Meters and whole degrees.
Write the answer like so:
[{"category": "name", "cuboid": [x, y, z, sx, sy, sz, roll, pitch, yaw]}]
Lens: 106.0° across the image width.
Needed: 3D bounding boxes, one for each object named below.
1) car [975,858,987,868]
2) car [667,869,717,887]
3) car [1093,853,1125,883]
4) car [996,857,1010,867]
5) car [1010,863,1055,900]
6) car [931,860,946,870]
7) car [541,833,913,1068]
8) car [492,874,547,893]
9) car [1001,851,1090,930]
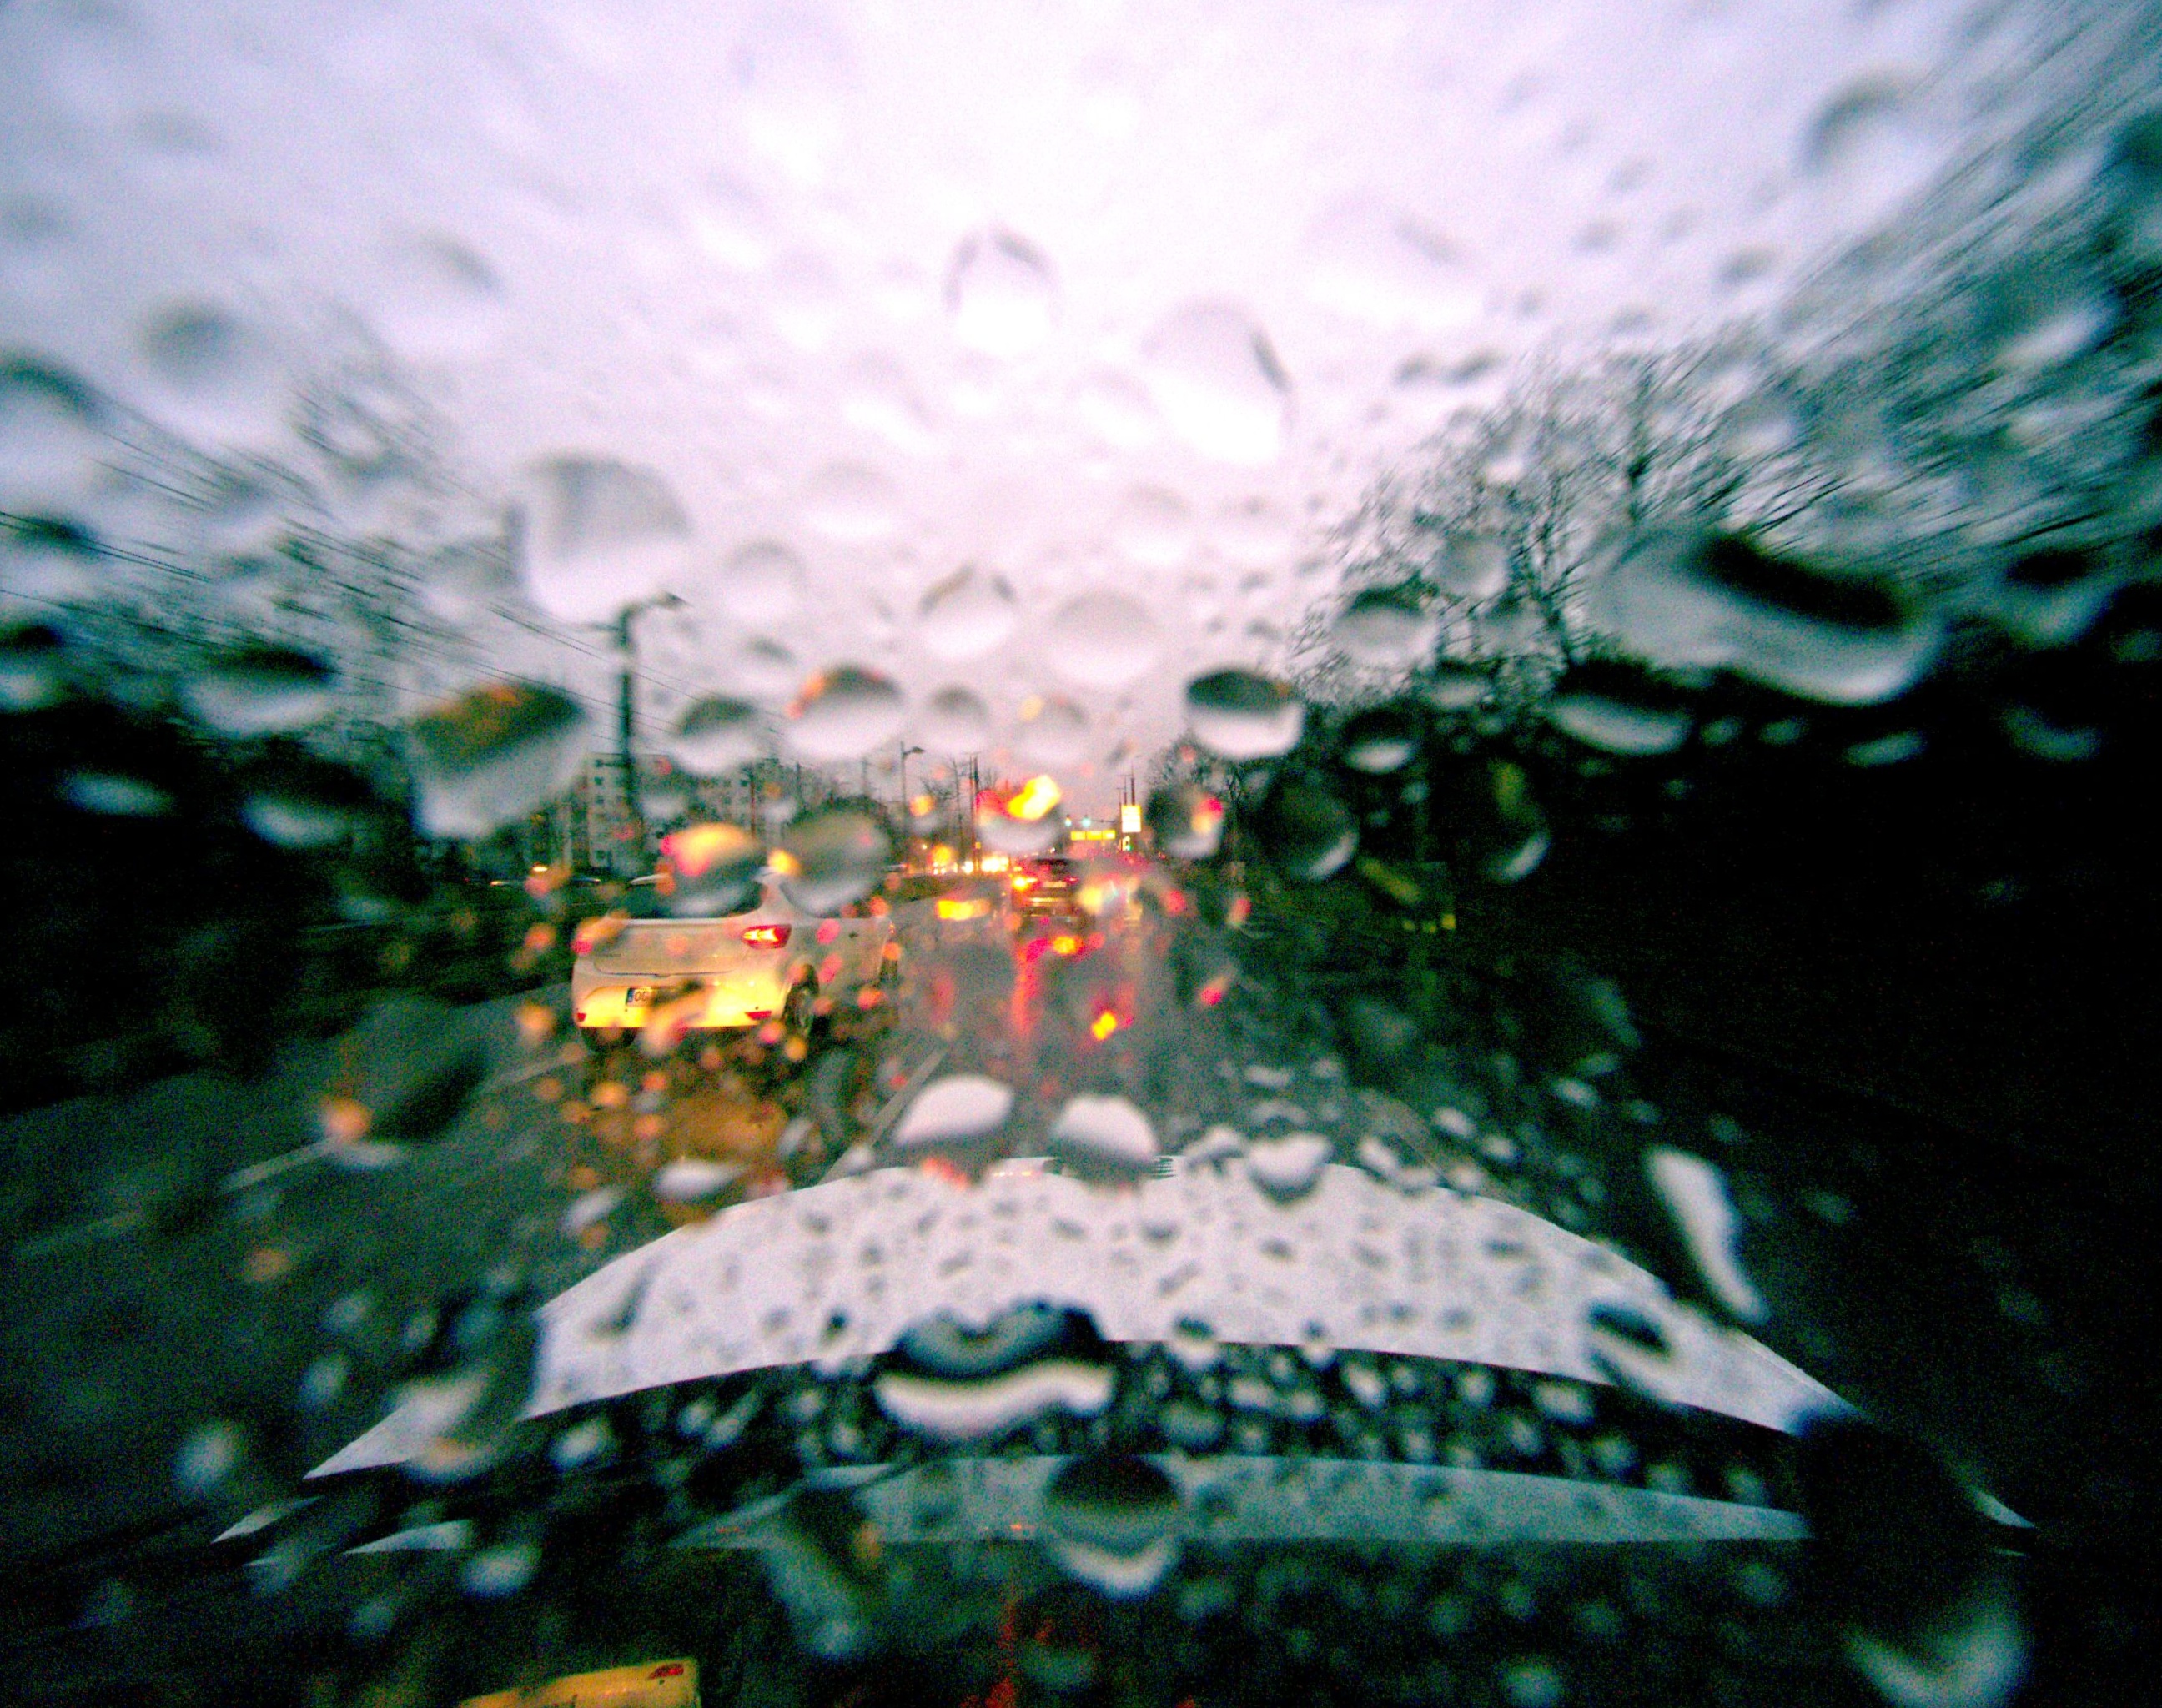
[{"category": "car", "cuboid": [-16.403, 1.447, 133.663, 1.646, 1.420, 3.326, -2, 0, 0]}, {"category": "car", "cuboid": [-38.891, 2.405, 81.524, 4.450, 1.544, 1.836, -2, 0, -27]}, {"category": "car", "cuboid": [1.654, 0.810, 48.706, 1.816, 1.648, 4.467, -2, 0, 1]}, {"category": "car", "cuboid": [-12.732, 1.265, 132.651, 1.851, 1.581, 4.078, -2, 0, -1]}, {"category": "car", "cuboid": [-2.354, 1.316, 40.363, 1.816, 1.648, 4.001, -2, 0, 1]}, {"category": "car", "cuboid": [-23.133, 1.732, 132.324, 1.613, 1.495, 4.018, -2, 0, 1]}, {"category": "car", "cuboid": [-2.993, 0.705, 7.972, 1.708, 1.648, 4.148, -2, 0, 1]}, {"category": "car", "cuboid": [-53.266, 2.775, 77.300, 4.008, 1.544, 1.698, -2, 0, -27]}, {"category": "car", "cuboid": [-0.737, 0.799, 19.772, 1.816, 1.648, 4.467, -2, 0, 1]}]
